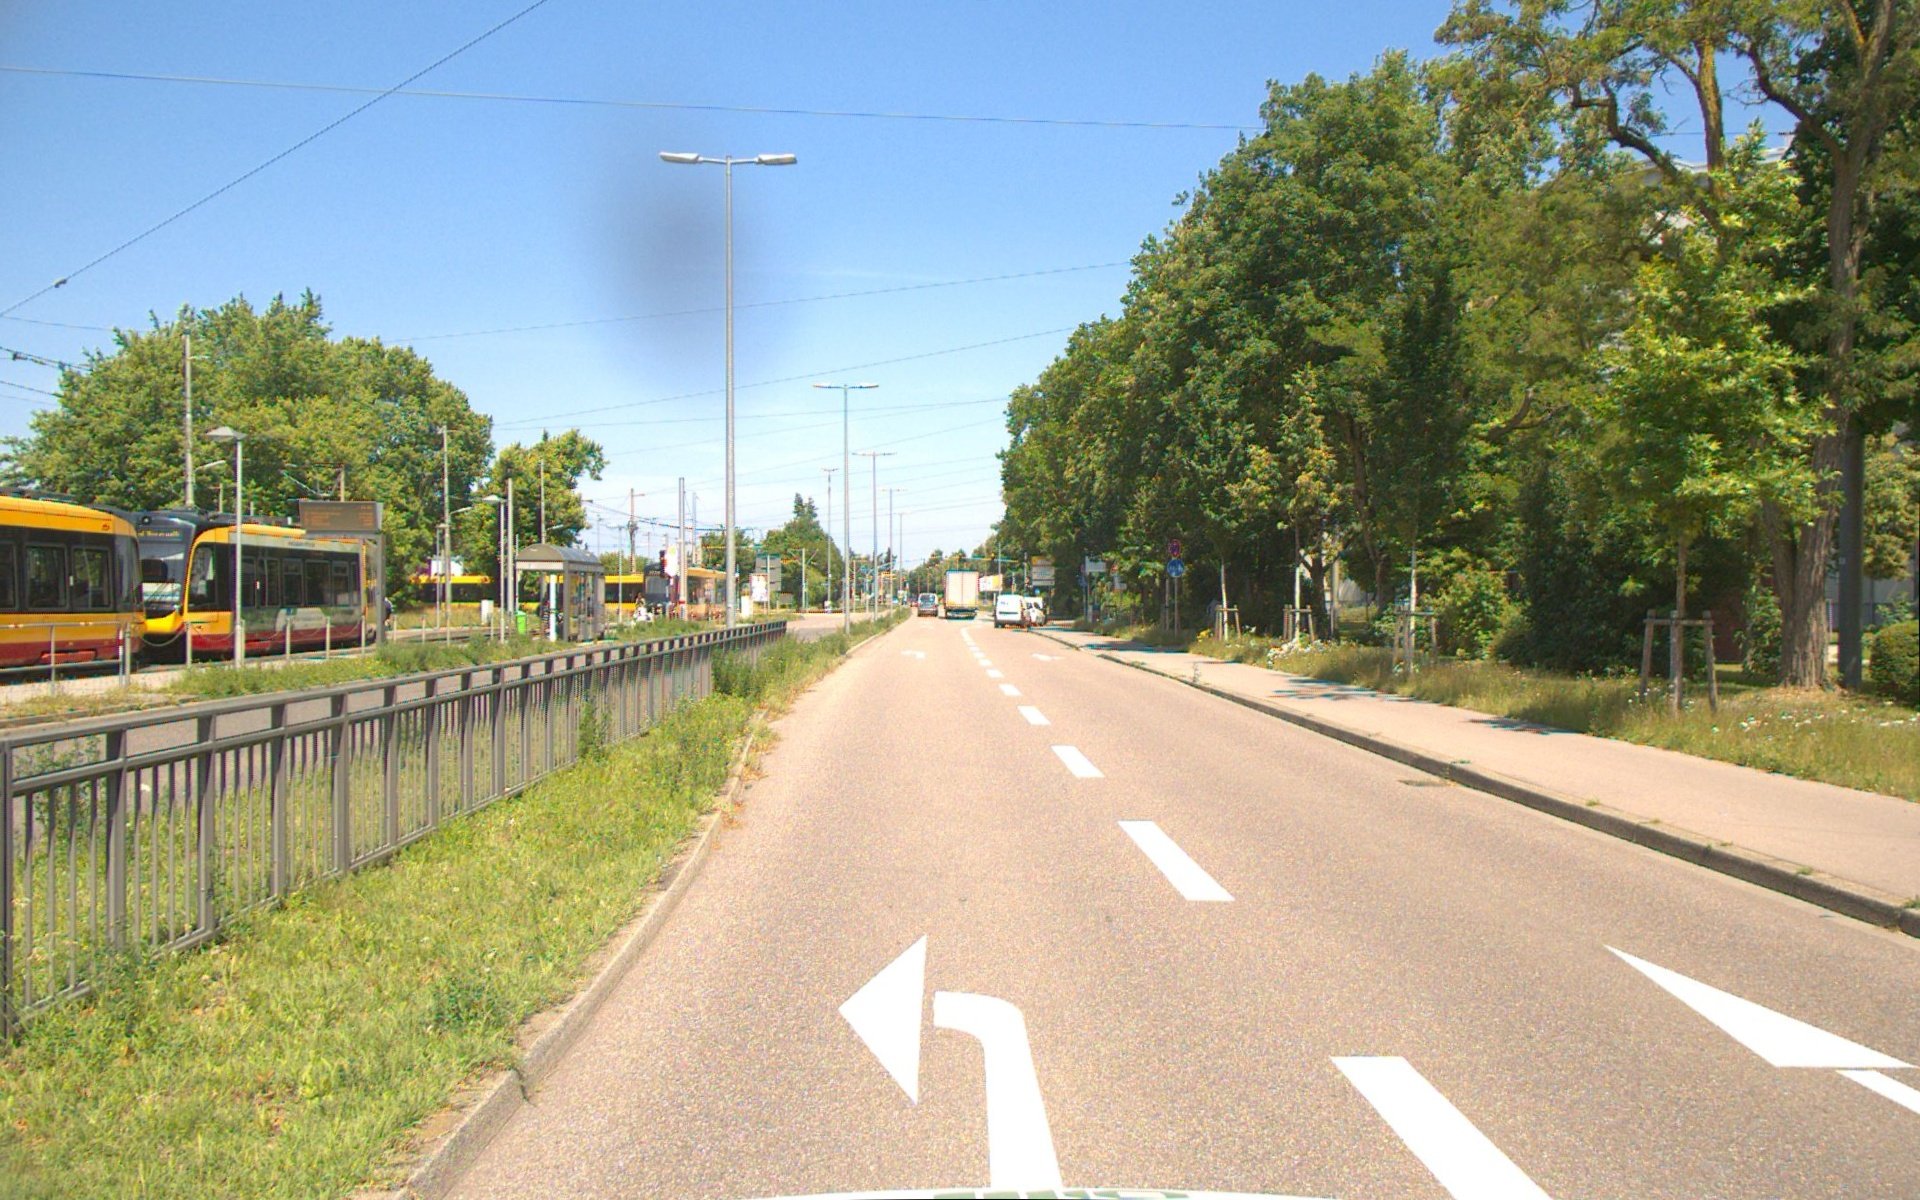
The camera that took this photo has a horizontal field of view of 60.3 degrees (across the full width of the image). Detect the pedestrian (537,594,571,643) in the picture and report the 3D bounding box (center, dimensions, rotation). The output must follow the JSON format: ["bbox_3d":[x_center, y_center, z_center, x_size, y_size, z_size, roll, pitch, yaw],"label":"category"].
[{"bbox_3d":[-13.235,0.604,53.901,0.856,1.573,1.025,1,0,-3],"label":"pedestrian"}]

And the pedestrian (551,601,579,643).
[{"bbox_3d":[-12.375,0.687,51.853,0.687,1.306,0.839,1,0,-3],"label":"pedestrian"}]

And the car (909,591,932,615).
[{"bbox_3d":[-3.589,0.264,151.021,1.954,2.148,4.745,0,1,-3],"label":"car"}]

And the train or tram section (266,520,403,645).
[{"bbox_3d":[-20.841,-0.580,55.812,2.993,3.687,12.402,1,0,-15],"label":"train or tram section"}]

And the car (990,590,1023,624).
[{"bbox_3d":[2.550,0.373,91.826,1.675,1.778,4.427,1,0,0],"label":"car"}]

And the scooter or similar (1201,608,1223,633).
[{"bbox_3d":[9.506,0.773,62.375,0.693,0.909,0.763,1,0,0],"label":"scooter or similar"}]

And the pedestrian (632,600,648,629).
[{"bbox_3d":[-13.458,0.604,69.580,0.569,1.210,0.536,1,0,-4],"label":"pedestrian"}]

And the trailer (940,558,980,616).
[{"bbox_3d":[-0.037,-1.020,133.288,2.770,4.499,8.745,1,0,-3],"label":"trailer"}]

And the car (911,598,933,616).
[{"bbox_3d":[-3.337,0.582,144.141,1.854,1.395,4.429,3,0,-2],"label":"car"}]

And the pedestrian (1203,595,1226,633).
[{"bbox_3d":[9.510,0.517,61.859,0.693,1.422,0.763,1,0,0],"label":"pedestrian"}]

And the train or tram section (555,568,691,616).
[{"bbox_3d":[-26.956,-0.650,131.627,12.499,3.526,3.034,2,0,37],"label":"train or tram section"}]

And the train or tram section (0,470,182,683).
[{"bbox_3d":[-18.713,-0.452,30.023,2.982,3.833,13.259,1,0,-1],"label":"train or tram section"}]

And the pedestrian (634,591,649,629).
[{"bbox_3d":[-13.676,0.423,70.985,0.524,1.593,0.582,1,0,-3],"label":"pedestrian"}]

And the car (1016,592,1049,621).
[{"bbox_3d":[4.405,0.375,101.070,1.665,1.683,4.396,1,0,-2],"label":"car"}]

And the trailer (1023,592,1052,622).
[{"bbox_3d":[4.551,0.393,97.438,1.439,1.698,2.854,1,0,-3],"label":"trailer"}]

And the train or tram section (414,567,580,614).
[{"bbox_3d":[-38.433,-0.775,137.426,12.943,3.526,3.048,1,0,5],"label":"train or tram section"}]

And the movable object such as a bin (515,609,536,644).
[{"bbox_3d":[-12.721,0.776,48.423,0.472,0.995,0.644,0,0,-5],"label":"movable object such as a bin"}]

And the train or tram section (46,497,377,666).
[{"bbox_3d":[-19.039,-0.439,43.623,2.983,3.687,13.889,1,0,-3],"label":"train or tram section"}]

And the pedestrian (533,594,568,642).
[{"bbox_3d":[-13.600,0.600,54.983,0.912,1.573,0.985,1,0,-3],"label":"pedestrian"}]
